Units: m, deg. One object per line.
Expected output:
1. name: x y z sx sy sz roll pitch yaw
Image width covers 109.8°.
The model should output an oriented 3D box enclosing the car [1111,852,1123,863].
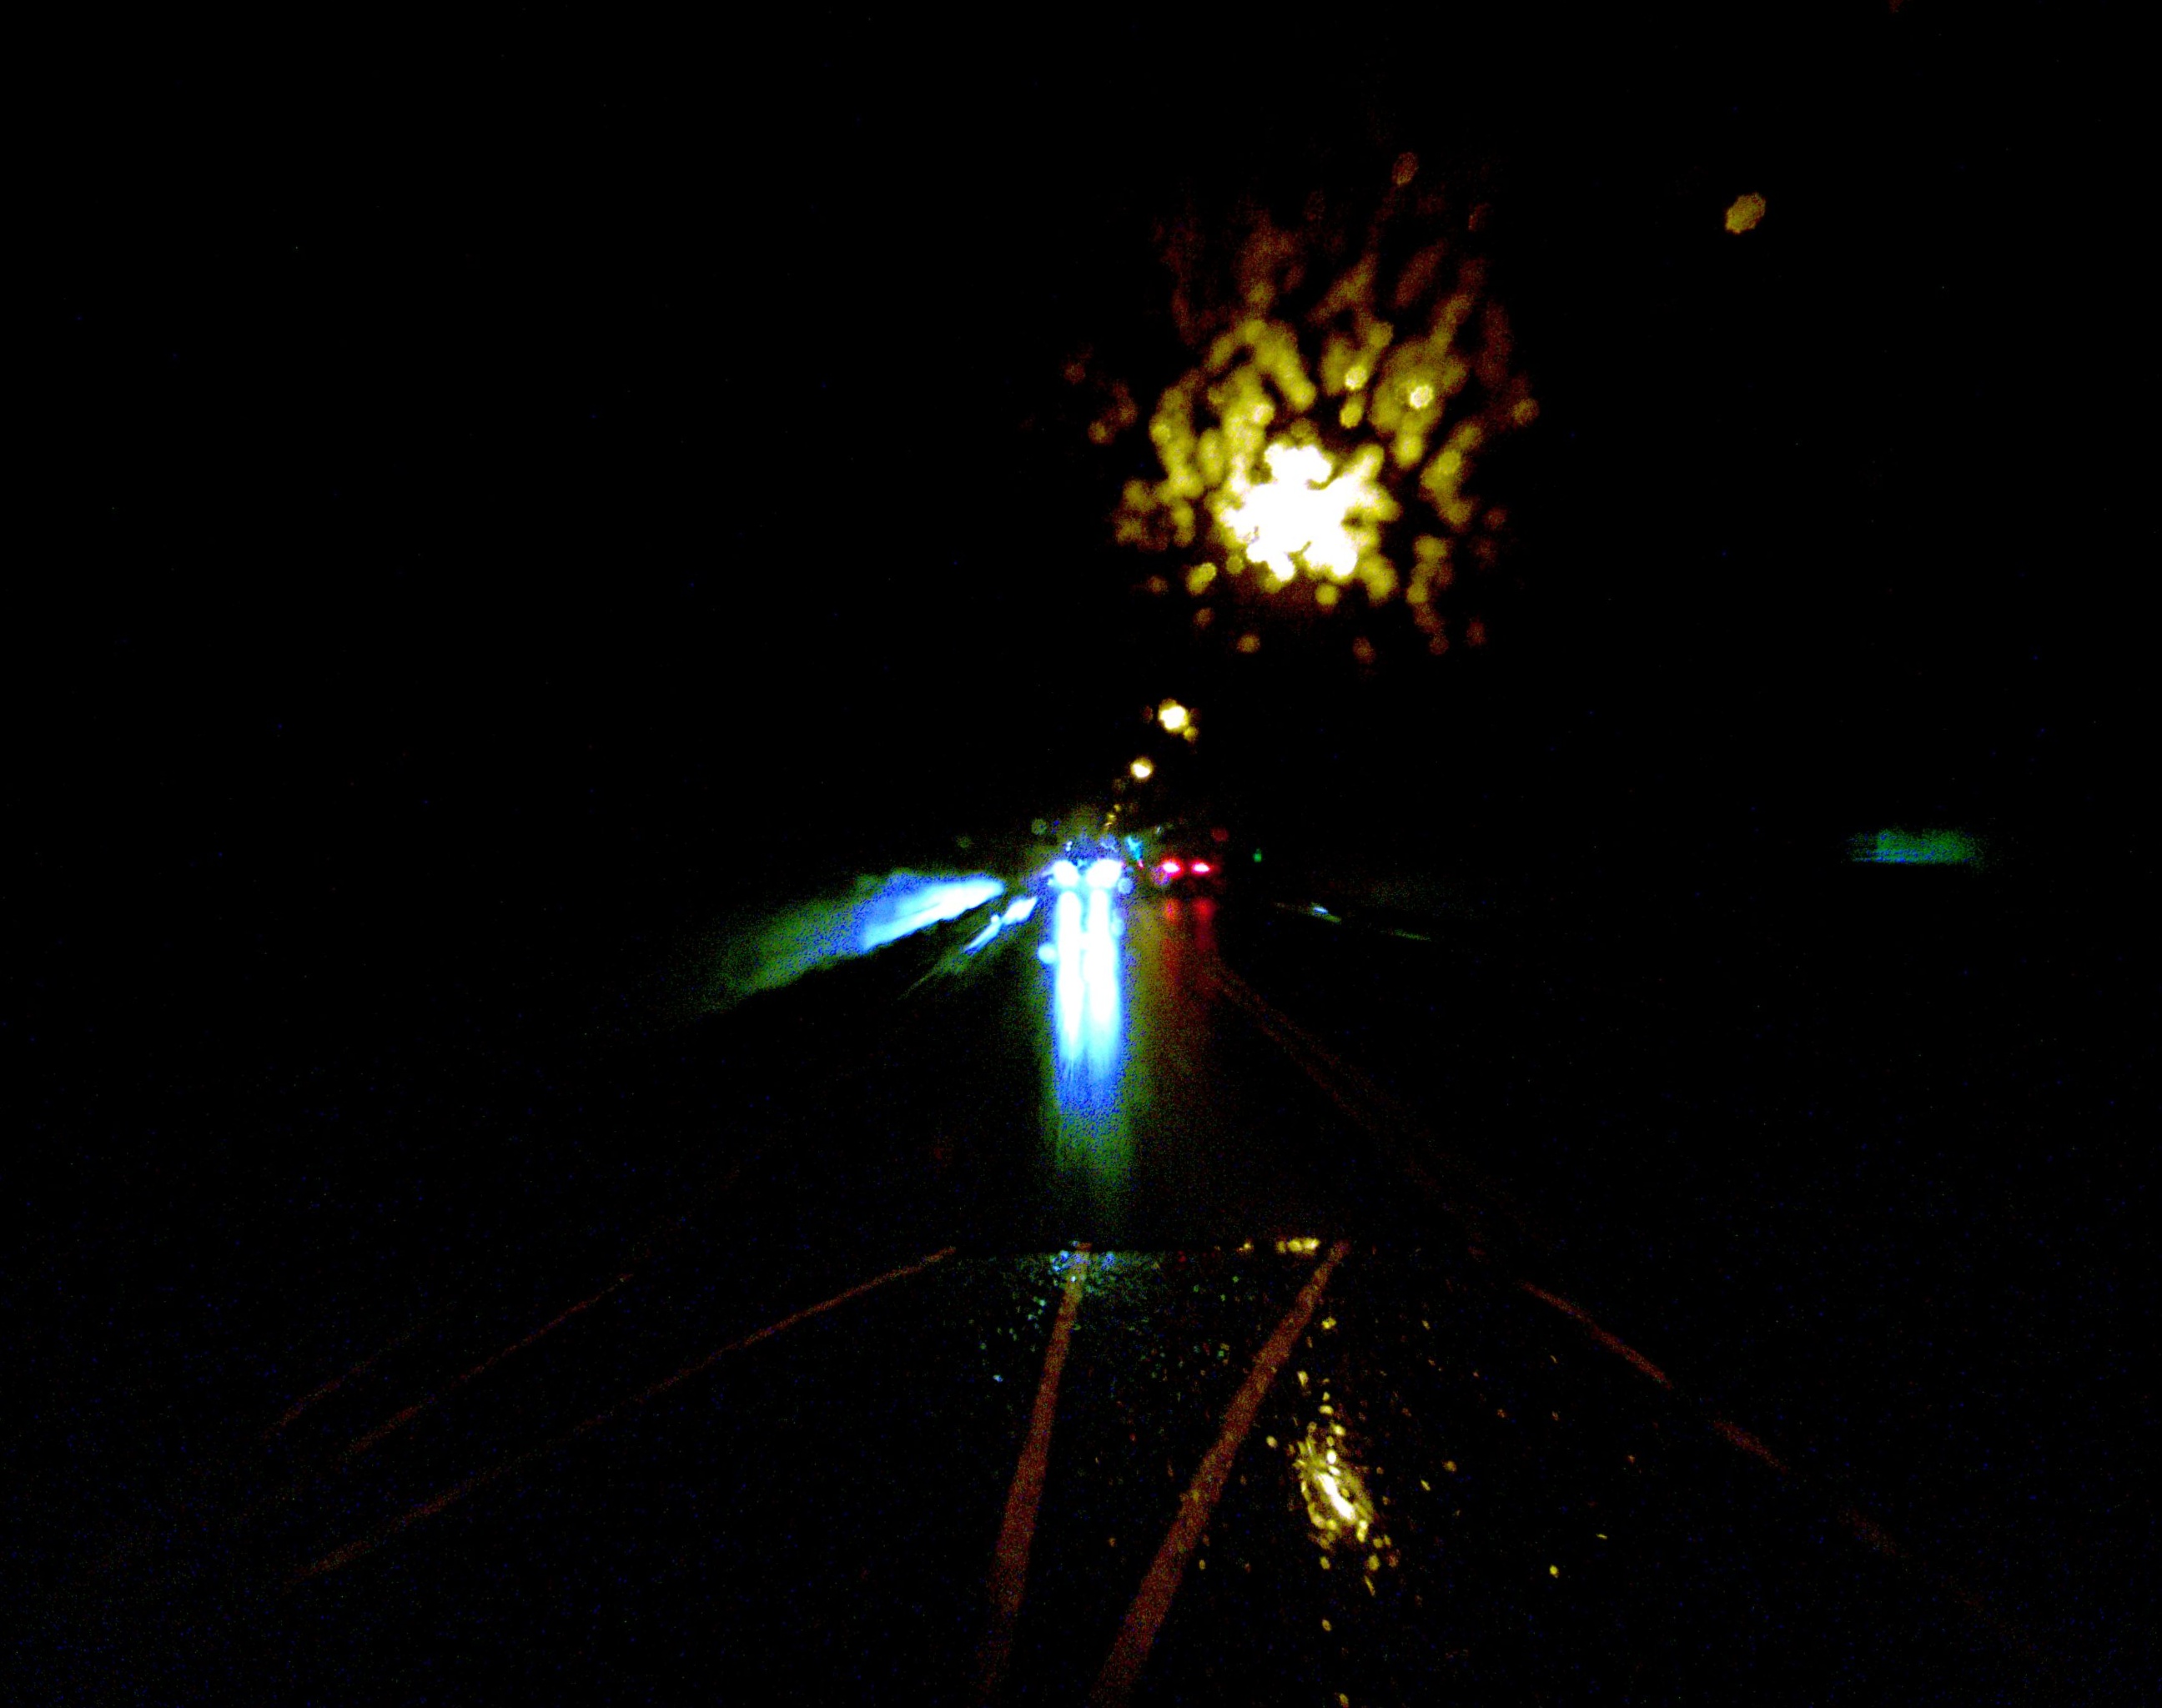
1. car: 5.362 0.570 113.930 1.673 1.637 3.907 2 -1 1

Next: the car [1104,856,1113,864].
1. car: 5.549 1.194 151.654 1.715 1.453 3.575 0 0 1

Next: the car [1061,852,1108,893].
1. car: 0.183 0.837 36.177 1.998 1.547 3.999 -5 2 1

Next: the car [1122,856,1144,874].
1. car: 4.397 0.914 65.064 1.694 1.414 3.625 -1 0 1

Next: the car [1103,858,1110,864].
1. car: 6.619 1.791 196.327 1.695 1.496 3.745 -1 0 0

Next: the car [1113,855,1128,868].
1. car: 4.852 0.952 93.066 1.705 1.546 3.873 -1 0 1

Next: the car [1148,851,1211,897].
1. car: 3.917 0.762 30.835 1.998 1.699 4.281 -1 0 1
